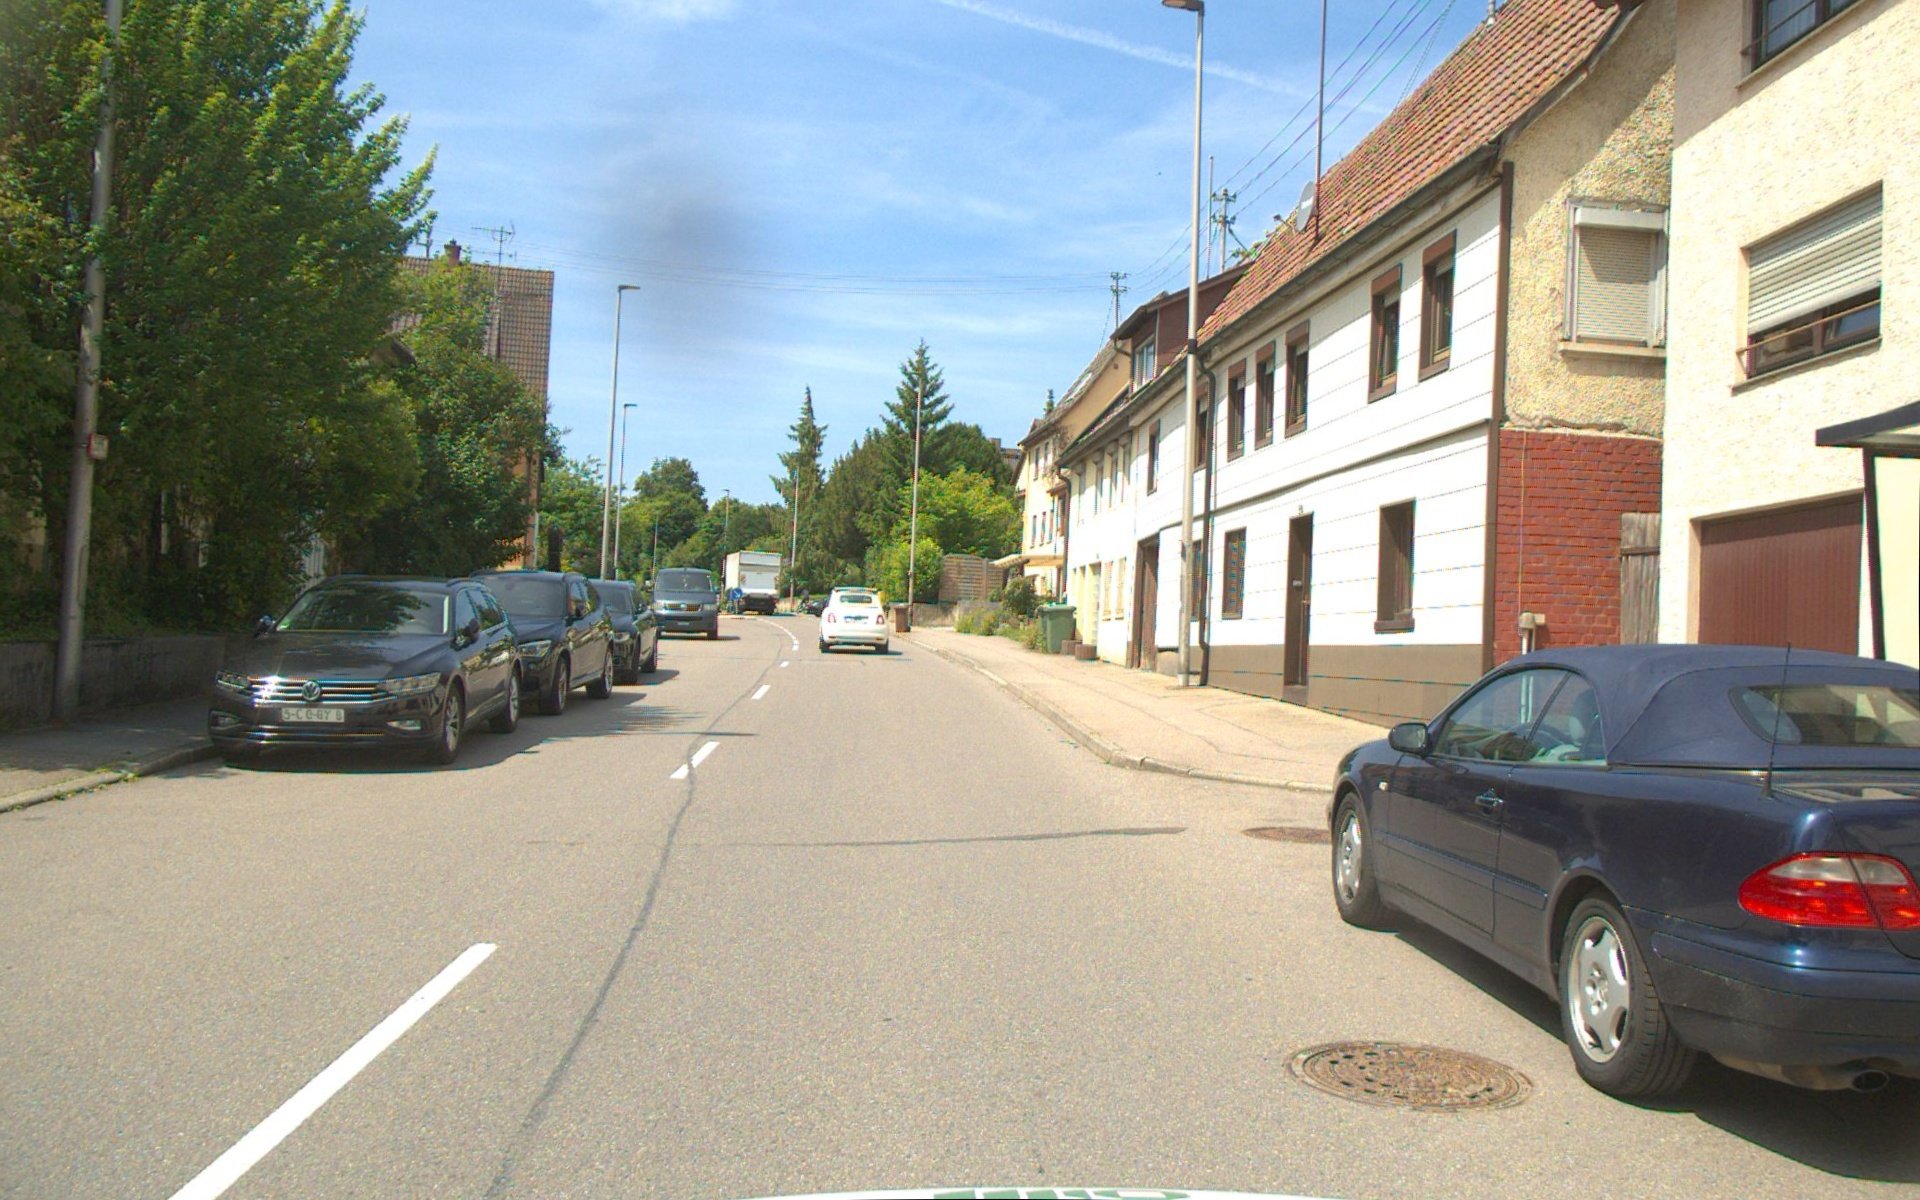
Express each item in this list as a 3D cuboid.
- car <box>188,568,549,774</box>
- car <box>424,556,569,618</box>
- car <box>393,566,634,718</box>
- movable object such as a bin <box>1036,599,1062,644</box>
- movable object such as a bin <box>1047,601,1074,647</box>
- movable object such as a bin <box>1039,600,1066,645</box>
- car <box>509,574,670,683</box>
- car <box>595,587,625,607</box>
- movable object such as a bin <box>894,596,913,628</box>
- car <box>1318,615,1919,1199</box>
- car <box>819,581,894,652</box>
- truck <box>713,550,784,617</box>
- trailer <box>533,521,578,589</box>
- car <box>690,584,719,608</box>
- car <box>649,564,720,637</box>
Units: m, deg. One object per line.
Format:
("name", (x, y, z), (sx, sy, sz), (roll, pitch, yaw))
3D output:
("car", (-4.941, 0.512, 14.548), (1.753, 1.489, 4.708), (1, 0, -4))
("car", (-14.427, -0.403, 51.707), (4.158, 1.429, 1.815), (6, -1, -14))
("car", (-5.122, 0.413, 19.562), (1.719, 1.547, 4.300), (2, 1, -1))
("movable object such as a bin", (2.136, 0.518, 39.757), (0.536, 1.051, 0.551), (-1, 1, -5))
("movable object such as a bin", (2.299, 0.545, 37.987), (0.536, 1.051, 0.551), (-1, 1, -5))
("movable object such as a bin", (2.188, 0.530, 39.171), (0.536, 1.051, 0.551), (-1, 1, -5))
("car", (-5.616, 0.368, 25.615), (1.784, 1.499, 4.771), (1, 1, -5))
("car", (-26.412, -0.231, 124.653), (1.777, 1.422, 3.979), (2, 0, -18))
("movable object such as a bin", (-1.903, 0.409, 55.569), (0.484, 1.051, 0.549), (-2, 0, 15))
("car", (2.764, 0.809, 6.248), (1.633, 1.376, 4.184), (2, 0, -4))
("car", (-2.533, 0.386, 40.029), (1.691, 1.587, 3.996), (1, 0, -5))
("truck", (-13.011, -0.945, 101.035), (3.019, 3.840, 7.831), (2, -1, -17))
("trailer", (-18.466, -1.990, 75.697), (1.682, 2.898, 6.156), (3, 0, -12))
("car", (-20.233, -0.306, 130.923), (1.511, 1.698, 3.979), (4, 0, -19))
("car", (-7.824, 0.010, 47.260), (1.856, 1.971, 4.976), (1, 0, -9))
